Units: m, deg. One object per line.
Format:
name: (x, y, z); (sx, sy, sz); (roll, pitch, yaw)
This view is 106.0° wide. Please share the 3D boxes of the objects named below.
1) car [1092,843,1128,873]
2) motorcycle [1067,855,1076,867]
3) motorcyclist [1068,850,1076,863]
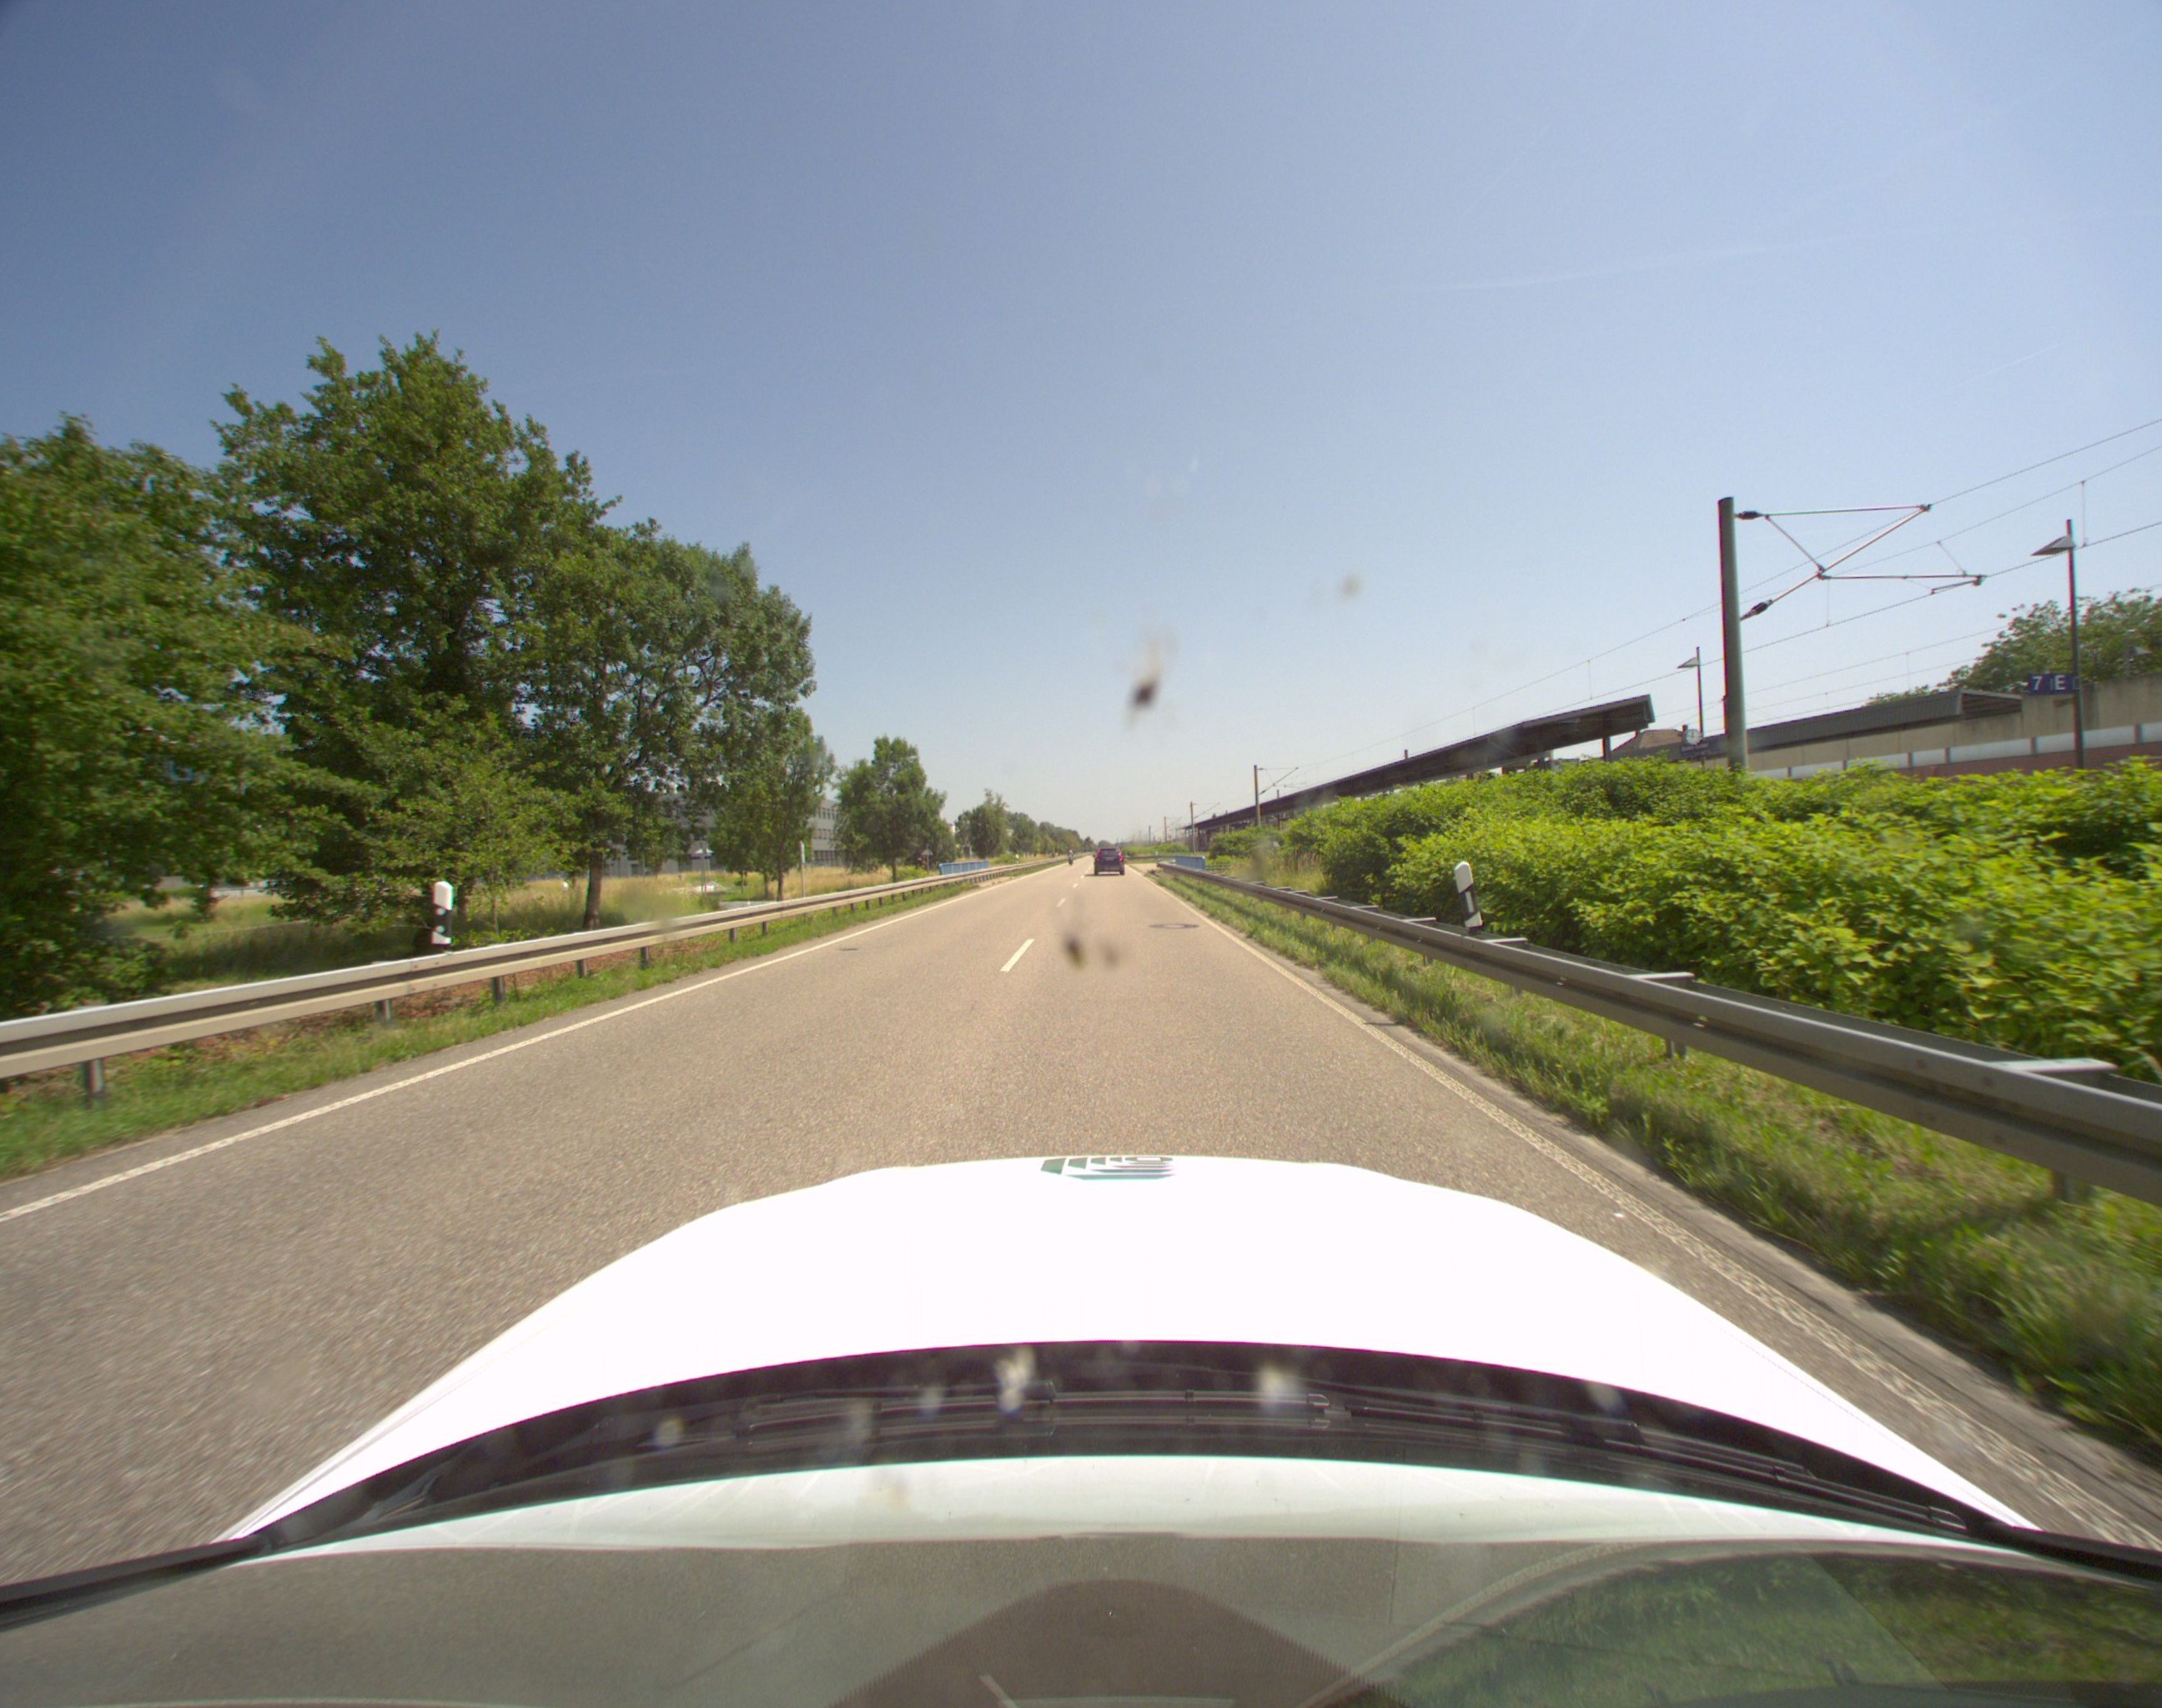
car: (1.768, 0.226, 50.977); (1.988, 1.700, 3.999); (-2, 0, -1)
motorcycle: (-1.041, 0.766, 90.210); (0.686, 1.234, 2.372); (-1, 0, 4)
motorcyclist: (-1.004, 0.269, 90.246); (0.723, 1.465, 0.988); (-2, 0, 4)
